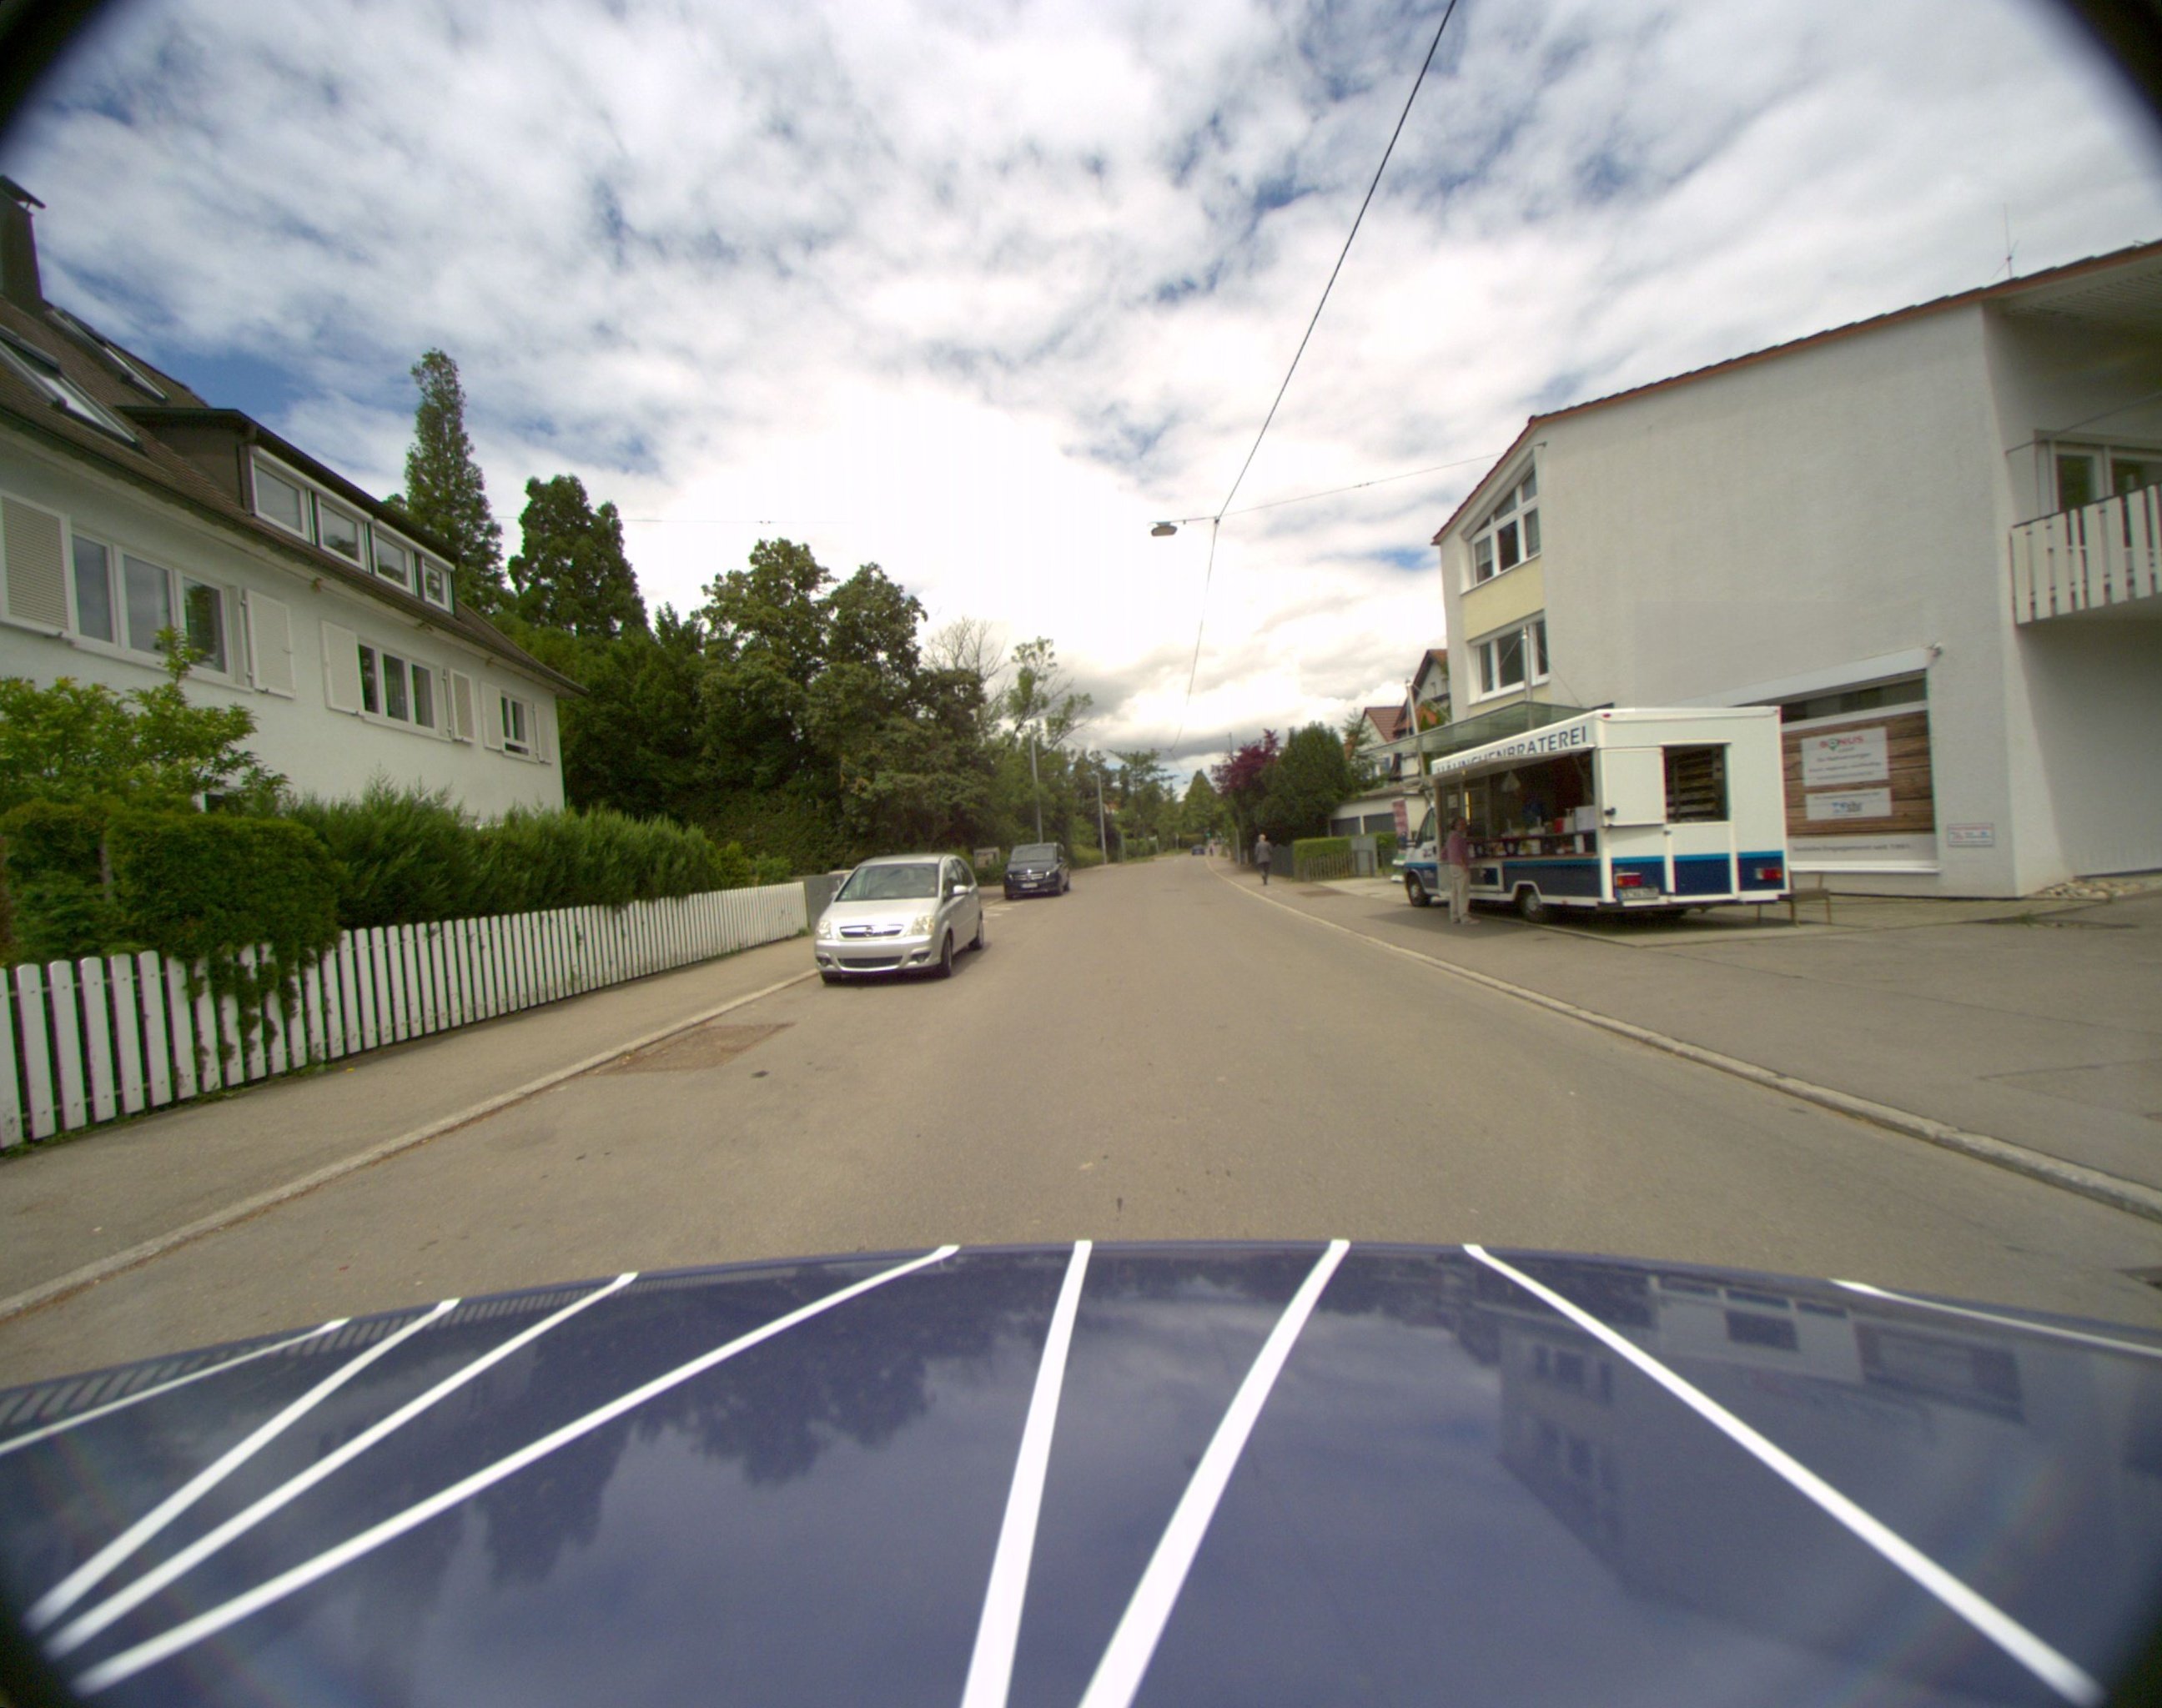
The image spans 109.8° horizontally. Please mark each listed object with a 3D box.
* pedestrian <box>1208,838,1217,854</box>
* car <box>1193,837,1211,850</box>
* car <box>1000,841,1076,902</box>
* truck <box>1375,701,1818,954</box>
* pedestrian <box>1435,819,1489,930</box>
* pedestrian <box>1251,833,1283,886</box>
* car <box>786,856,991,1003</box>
[{"bbox_3d":[14.810,-0.926,85.620,0.821,1.734,0.604,-6,1,11],"label":"pedestrian"},{"bbox_3d":[17.183,-1.529,108.032,1.696,1.424,3.930,-4,3,20],"label":"car"},{"bbox_3d":[-1.417,0.514,27.253,1.913,1.838,5.158,-4,1,5],"label":"car"},{"bbox_3d":[7.405,-0.352,12.334,2.479,2.824,6.706,-4,1,0],"label":"truck"},{"bbox_3d":[6.036,0.312,12.055,0.402,1.685,0.597,-6,1,-1],"label":"pedestrian"},{"bbox_3d":[6.266,0.180,25.670,0.724,1.677,1.109,-6,3,5],"label":"pedestrian"},{"bbox_3d":[-2.466,0.886,10.817,1.763,1.573,4.018,-2,1,1],"label":"car"}]
